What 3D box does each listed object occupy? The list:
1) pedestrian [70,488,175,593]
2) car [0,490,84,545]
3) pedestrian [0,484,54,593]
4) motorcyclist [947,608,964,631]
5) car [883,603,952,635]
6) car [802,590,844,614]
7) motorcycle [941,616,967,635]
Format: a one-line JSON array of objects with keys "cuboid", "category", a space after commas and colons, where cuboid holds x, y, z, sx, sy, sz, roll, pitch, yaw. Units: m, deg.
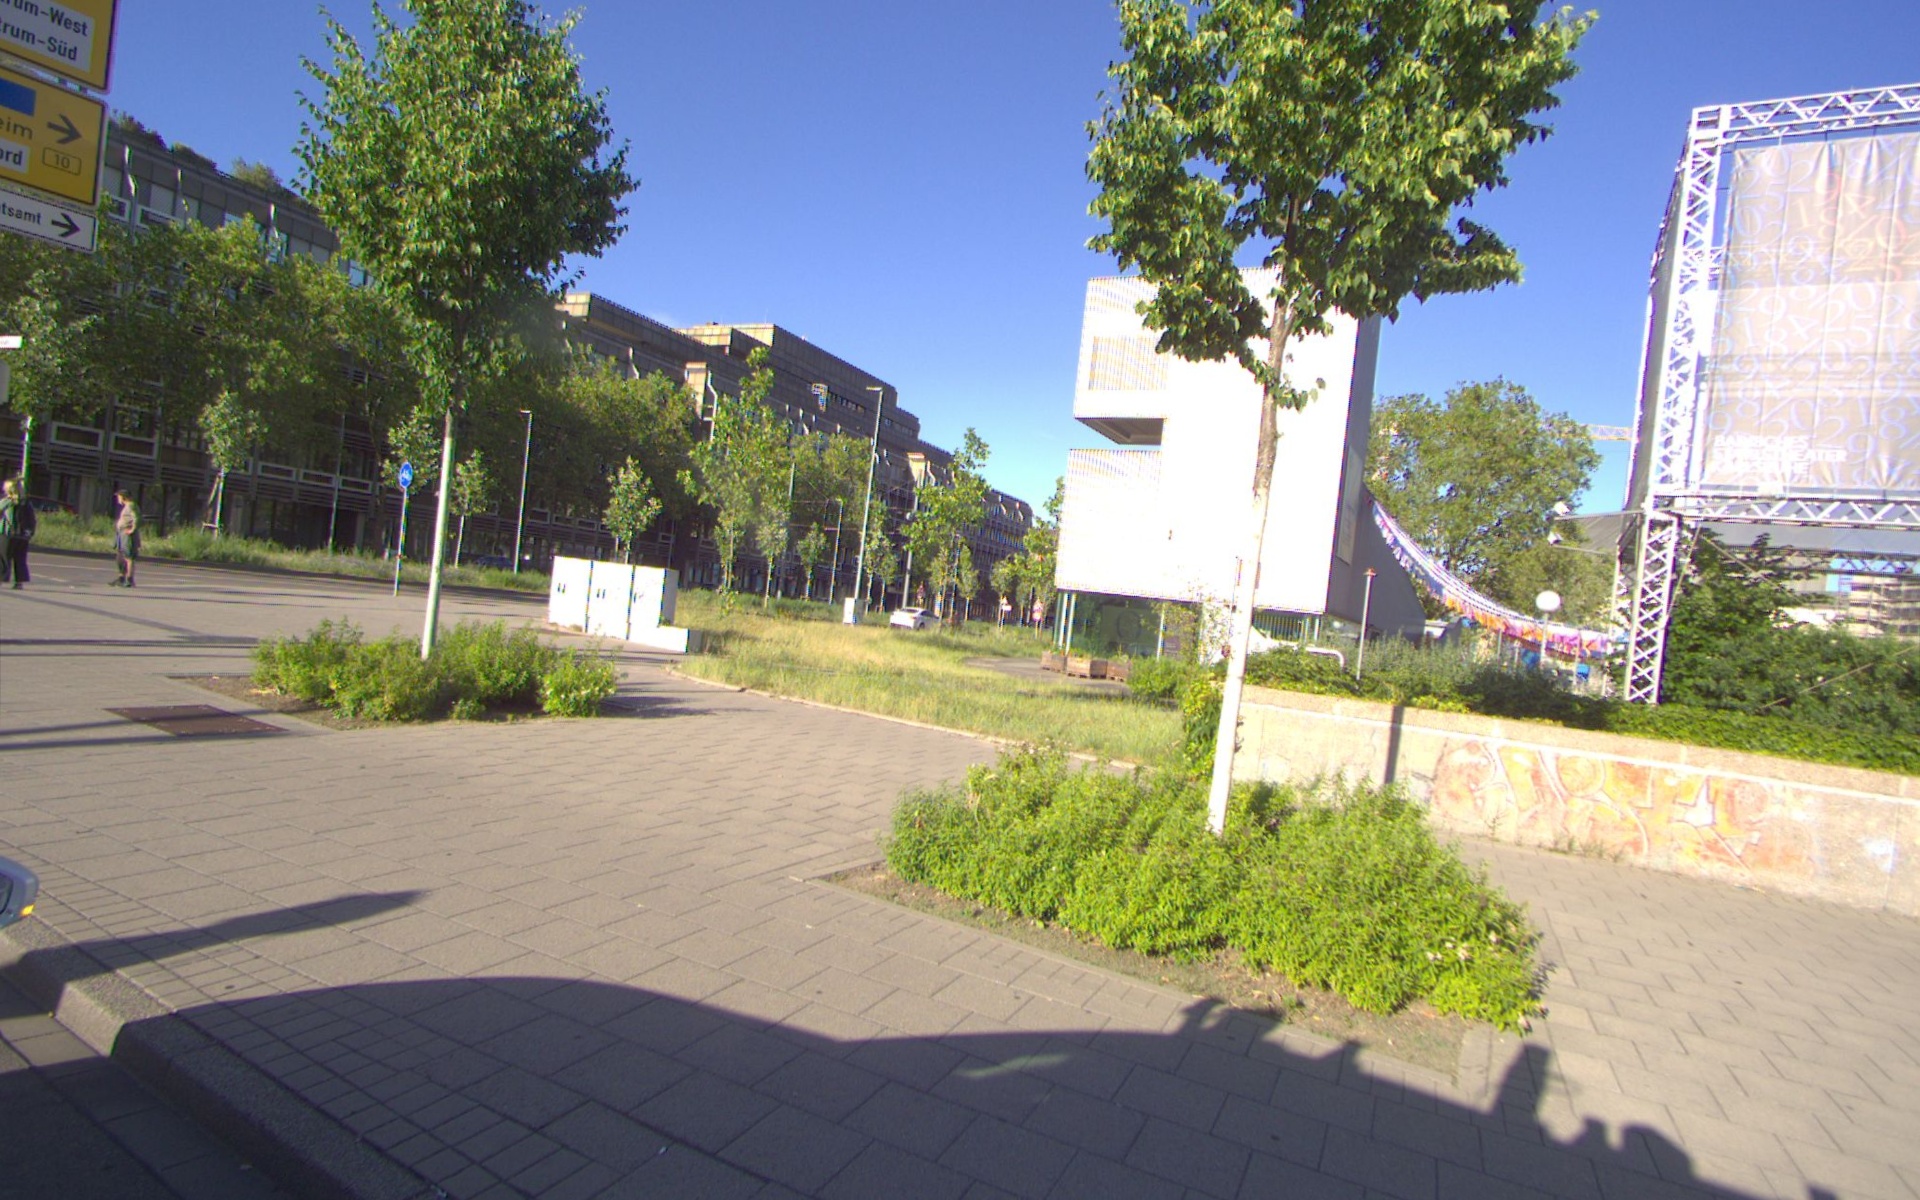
[{"cuboid": [-14.932, -1.043, 17.955, 0.946, 1.684, 0.882, 7, -1, 11], "category": "pedestrian"}, {"cuboid": [-33.271, -2.986, 34.909, 1.629, 1.604, 3.896, 6, -1, 24], "category": "car"}, {"cuboid": [-14.037, -0.917, 14.780, 0.633, 1.510, 0.789, 6, -1, 31], "category": "pedestrian"}, {"cuboid": [-0.272, 1.111, 57.304, 0.551, 1.263, 0.727, 7, 0, 26], "category": "motorcyclist"}, {"cuboid": [-2.431, 1.171, 59.217, 1.820, 1.437, 4.956, 7, -1, 26], "category": "car"}, {"cuboid": [-12.019, 0.162, 88.552, 1.630, 1.603, 3.912, 7, -2, 25], "category": "car"}, {"cuboid": [-0.323, 1.452, 57.270, 0.551, 0.970, 2.080, 7, -1, 25], "category": "motorcycle"}]
